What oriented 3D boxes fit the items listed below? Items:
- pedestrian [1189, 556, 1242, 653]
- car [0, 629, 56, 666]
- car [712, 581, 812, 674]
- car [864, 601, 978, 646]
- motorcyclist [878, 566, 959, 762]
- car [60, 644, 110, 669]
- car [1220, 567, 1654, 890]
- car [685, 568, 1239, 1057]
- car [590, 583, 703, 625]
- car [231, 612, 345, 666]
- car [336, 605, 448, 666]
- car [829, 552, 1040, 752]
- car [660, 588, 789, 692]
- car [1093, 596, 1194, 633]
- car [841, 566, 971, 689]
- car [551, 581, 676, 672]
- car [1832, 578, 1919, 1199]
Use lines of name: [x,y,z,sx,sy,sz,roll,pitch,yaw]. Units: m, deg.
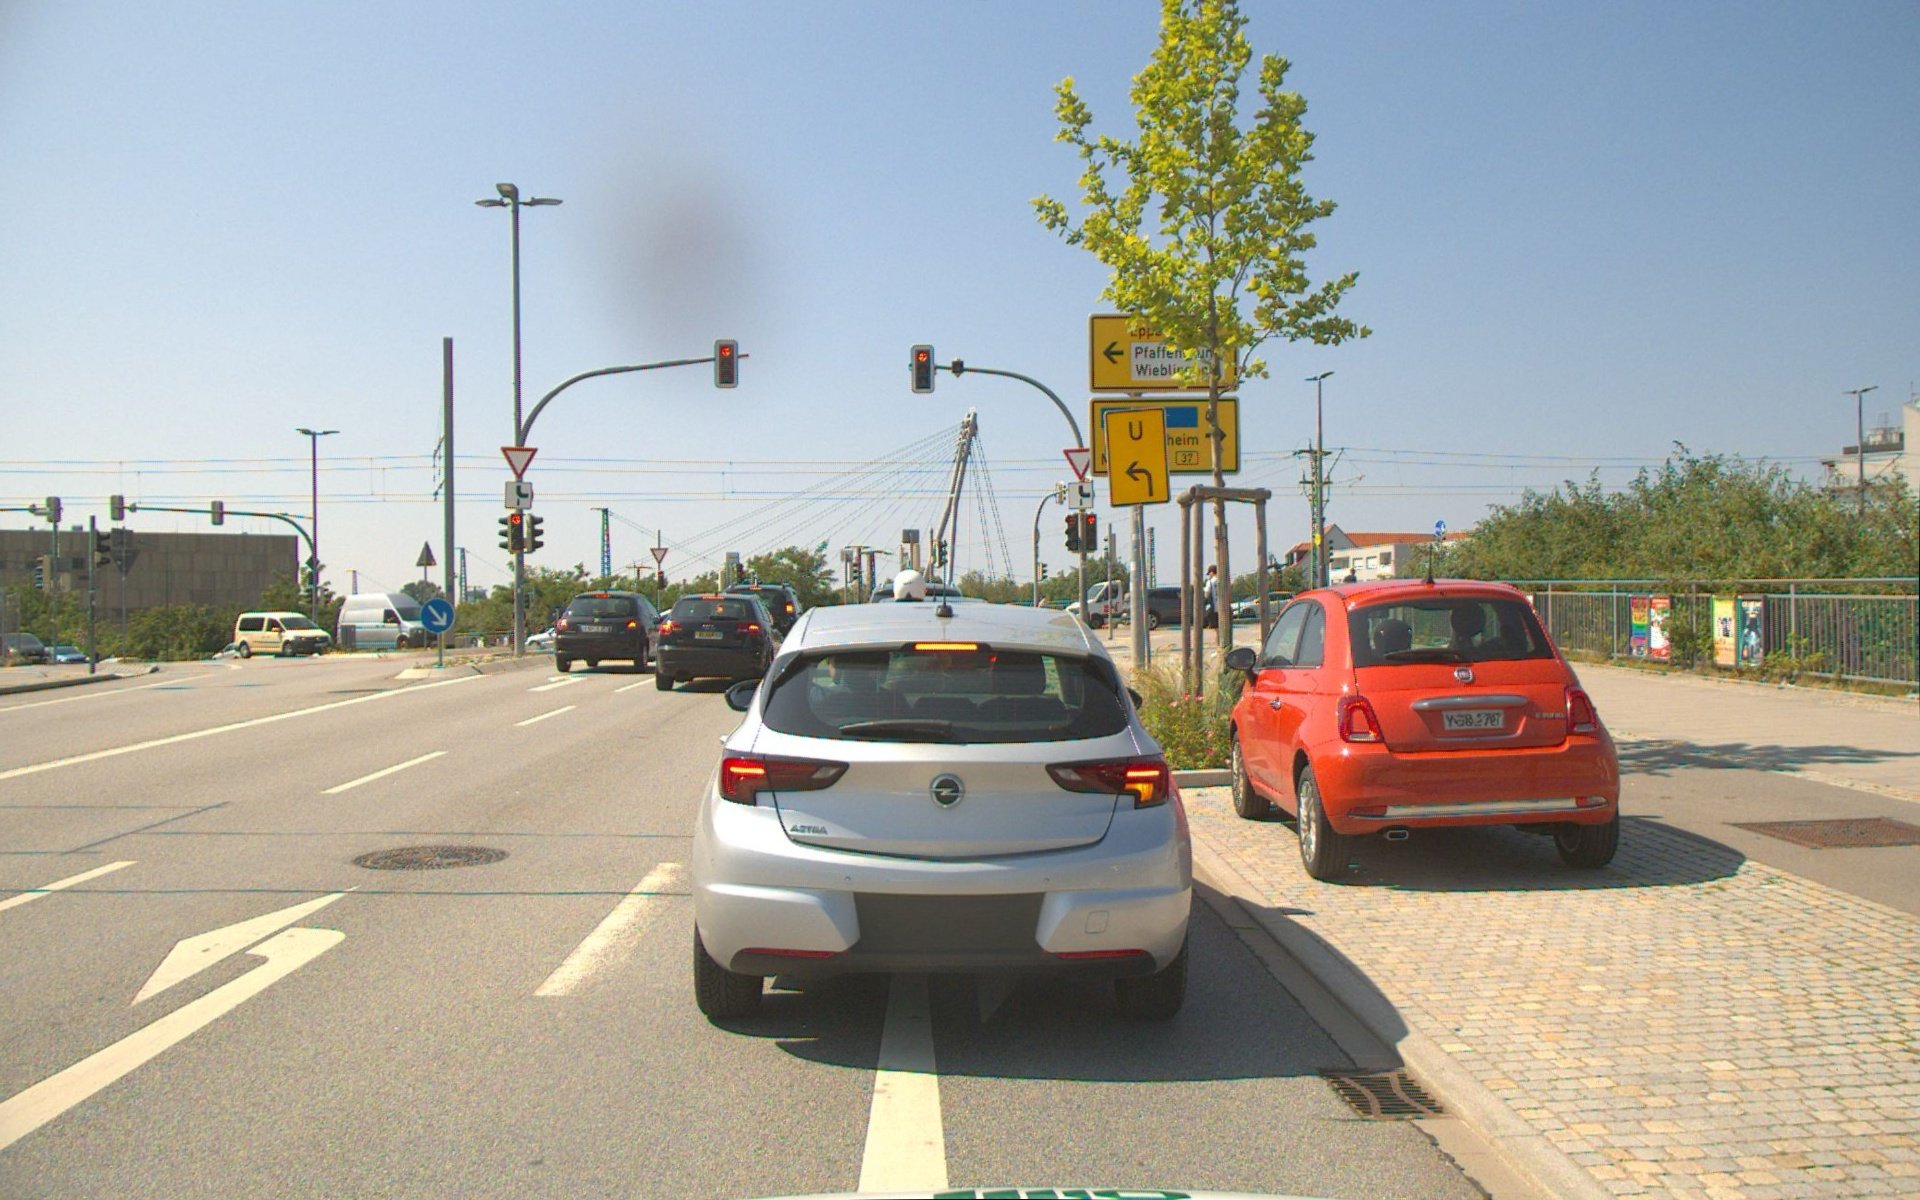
pedestrian: [4.982,0.082,32.305,0.788,1.868,0.642,0,-1,-34]
car: [-41.248,2.070,73.107,1.662,1.502,3.358,-1,1,-39]
car: [-3.713,0.505,31.530,1.616,1.643,3.818,1,0,-3]
car: [-1.460,0.870,62.588,4.186,1.660,1.756,0,-1,2]
motorcyclist: [-0.305,0.466,12.345,0.570,1.413,0.706,1,-1,-1]
car: [-50.306,3.235,95.064,1.806,1.354,3.941,1,-2,-40]
car: [2.605,0.619,9.795,1.577,1.522,3.352,-2,0,0]
car: [-0.095,0.675,7.146,1.708,1.503,3.997,1,0,-3]
car: [-11.954,0.167,63.219,3.905,1.508,2.000,1,0,0]
car: [-27.191,1.548,66.872,4.619,2.049,1.994,1,0,33]
car: [-23.429,1.435,68.114,4.913,2.418,1.778,0,-1,34]
car: [-0.267,0.465,17.756,1.953,1.852,4.401,1,1,-1]
car: [-3.578,0.584,25.657,1.543,1.459,3.785,1,0,-2]
car: [7.102,0.551,64.220,3.646,1.408,1.583,0,-1,-8]
car: [-0.731,0.328,23.789,1.689,1.591,4.000,1,1,-1]
car: [-6.409,0.471,30.930,1.565,1.574,3.761,1,0,-1]
car: [2.927,0.633,1.904,1.627,1.451,3.999,-3,0,-1]
